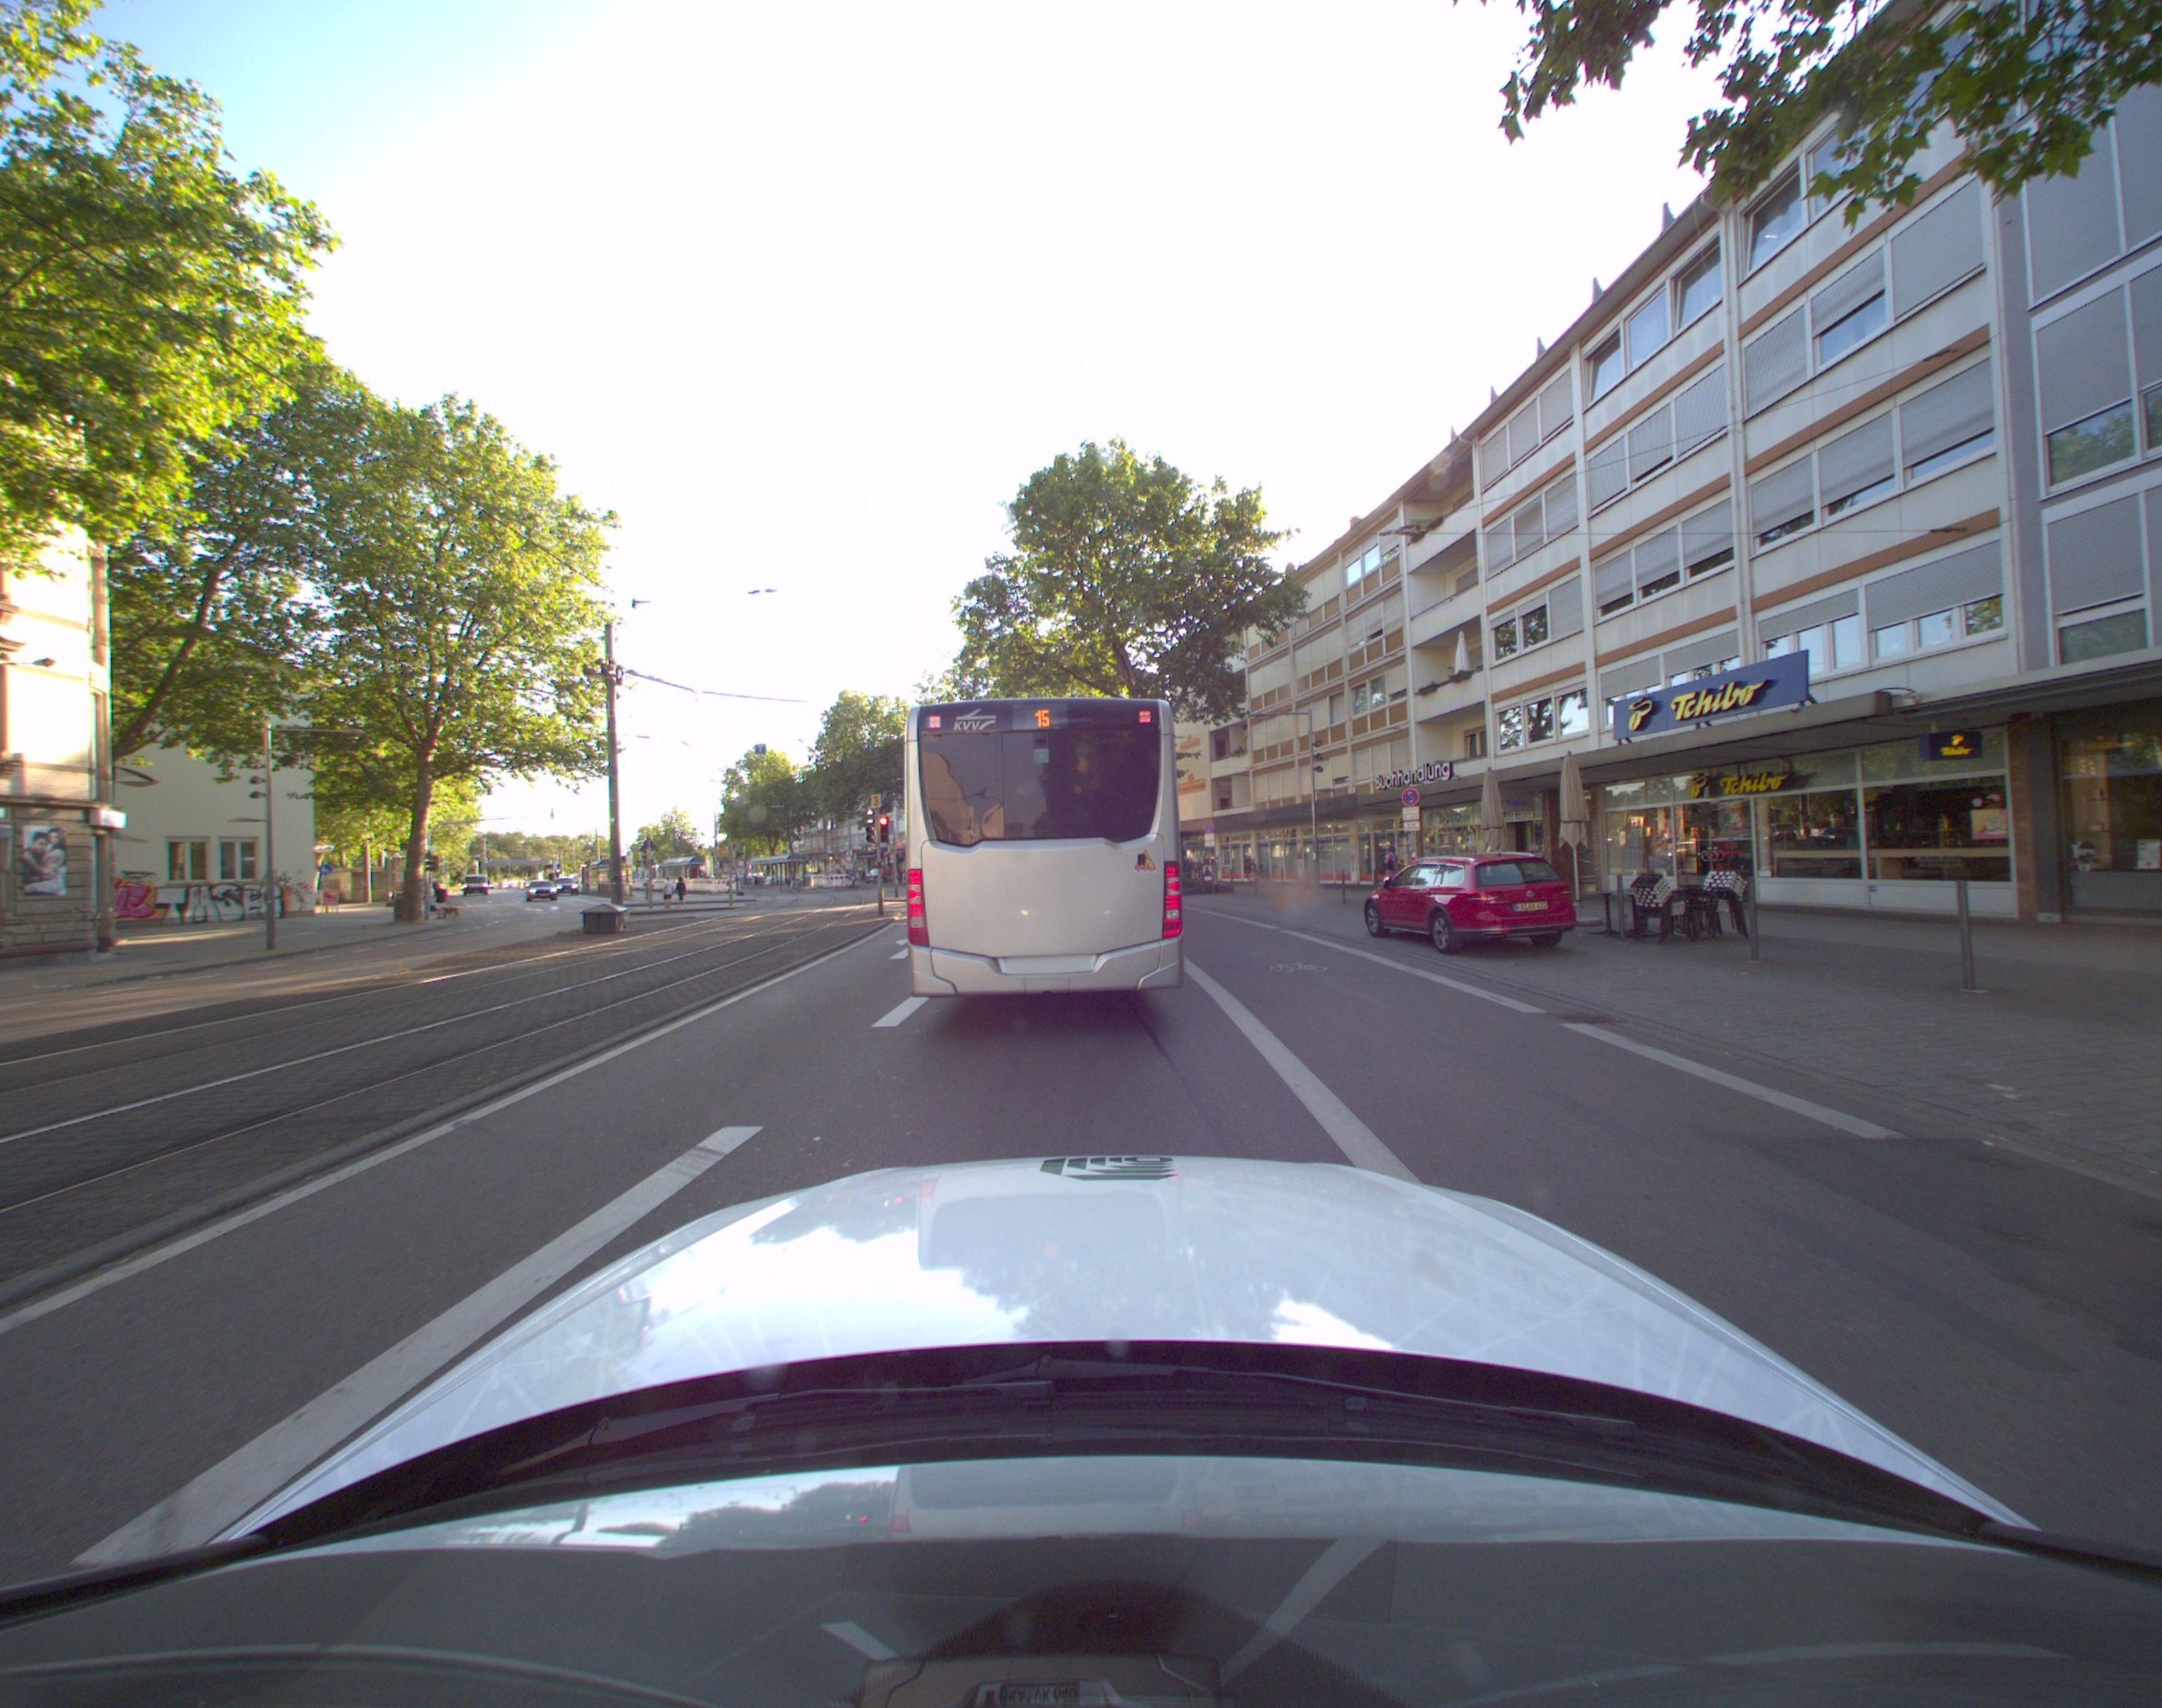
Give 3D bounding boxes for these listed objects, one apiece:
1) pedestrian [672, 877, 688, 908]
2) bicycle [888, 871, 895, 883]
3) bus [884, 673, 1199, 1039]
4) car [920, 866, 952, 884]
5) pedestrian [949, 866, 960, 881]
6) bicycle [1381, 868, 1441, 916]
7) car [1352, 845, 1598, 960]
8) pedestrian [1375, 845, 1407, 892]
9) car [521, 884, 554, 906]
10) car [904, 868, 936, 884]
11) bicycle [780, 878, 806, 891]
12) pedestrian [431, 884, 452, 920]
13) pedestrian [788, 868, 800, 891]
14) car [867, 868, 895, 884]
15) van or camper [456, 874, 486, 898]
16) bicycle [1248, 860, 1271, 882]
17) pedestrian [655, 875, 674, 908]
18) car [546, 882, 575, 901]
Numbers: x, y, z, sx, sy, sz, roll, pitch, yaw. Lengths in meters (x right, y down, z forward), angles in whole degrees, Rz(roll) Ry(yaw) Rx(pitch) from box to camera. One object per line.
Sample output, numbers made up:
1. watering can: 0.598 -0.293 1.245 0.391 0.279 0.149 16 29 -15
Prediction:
1. pedestrian: -19.530 1.873 39.626 0.405 1.504 0.519 -2 -1 18
2. bicycle: -19.458 2.374 83.548 0.508 1.211 2.079 -2 -1 -19
3. bus: -0.368 0.087 12.220 2.650 3.099 10.212 -2 -1 0
4. car: -13.575 1.989 76.107 1.675 1.516 3.376 -5 2 -35
5. pedestrian: -10.746 1.645 68.988 0.779 1.304 0.590 -2 -1 -19
6. bicycle: 7.857 0.881 19.444 0.511 1.070 1.657 -4 0 -7
7. car: 6.350 0.713 13.837 1.774 1.496 4.563 -4 -1 -2
8. pedestrian: 10.643 0.502 27.946 0.640 1.552 0.804 -2 -1 -12
9. car: -39.718 2.946 59.515 1.900 1.472 4.162 -1 -1 -34
10. car: -15.767 2.124 79.486 1.675 1.394 3.374 -5 2 -36
11. bicycle: -22.561 2.359 63.796 1.857 0.942 0.458 -2 -1 -43
12. pedestrian: -30.885 2.318 39.332 0.426 1.710 0.681 -1 -1 34
13. pedestrian: -22.341 1.965 63.360 0.726 1.725 0.394 -1 -1 -43
14. car: -21.277 2.325 86.701 1.675 1.468 3.375 -5 2 -36
15. van or camper: -65.366 3.443 87.361 2.183 2.319 5.049 -4 0 -34
16. bicycle: 9.464 0.905 43.243 0.438 1.092 1.453 -4 0 -17
17. pedestrian: -19.976 1.797 39.086 0.516 1.504 0.596 -2 -1 19
18. car: -47.439 3.364 74.227 1.901 1.585 4.160 -2 -1 -36
